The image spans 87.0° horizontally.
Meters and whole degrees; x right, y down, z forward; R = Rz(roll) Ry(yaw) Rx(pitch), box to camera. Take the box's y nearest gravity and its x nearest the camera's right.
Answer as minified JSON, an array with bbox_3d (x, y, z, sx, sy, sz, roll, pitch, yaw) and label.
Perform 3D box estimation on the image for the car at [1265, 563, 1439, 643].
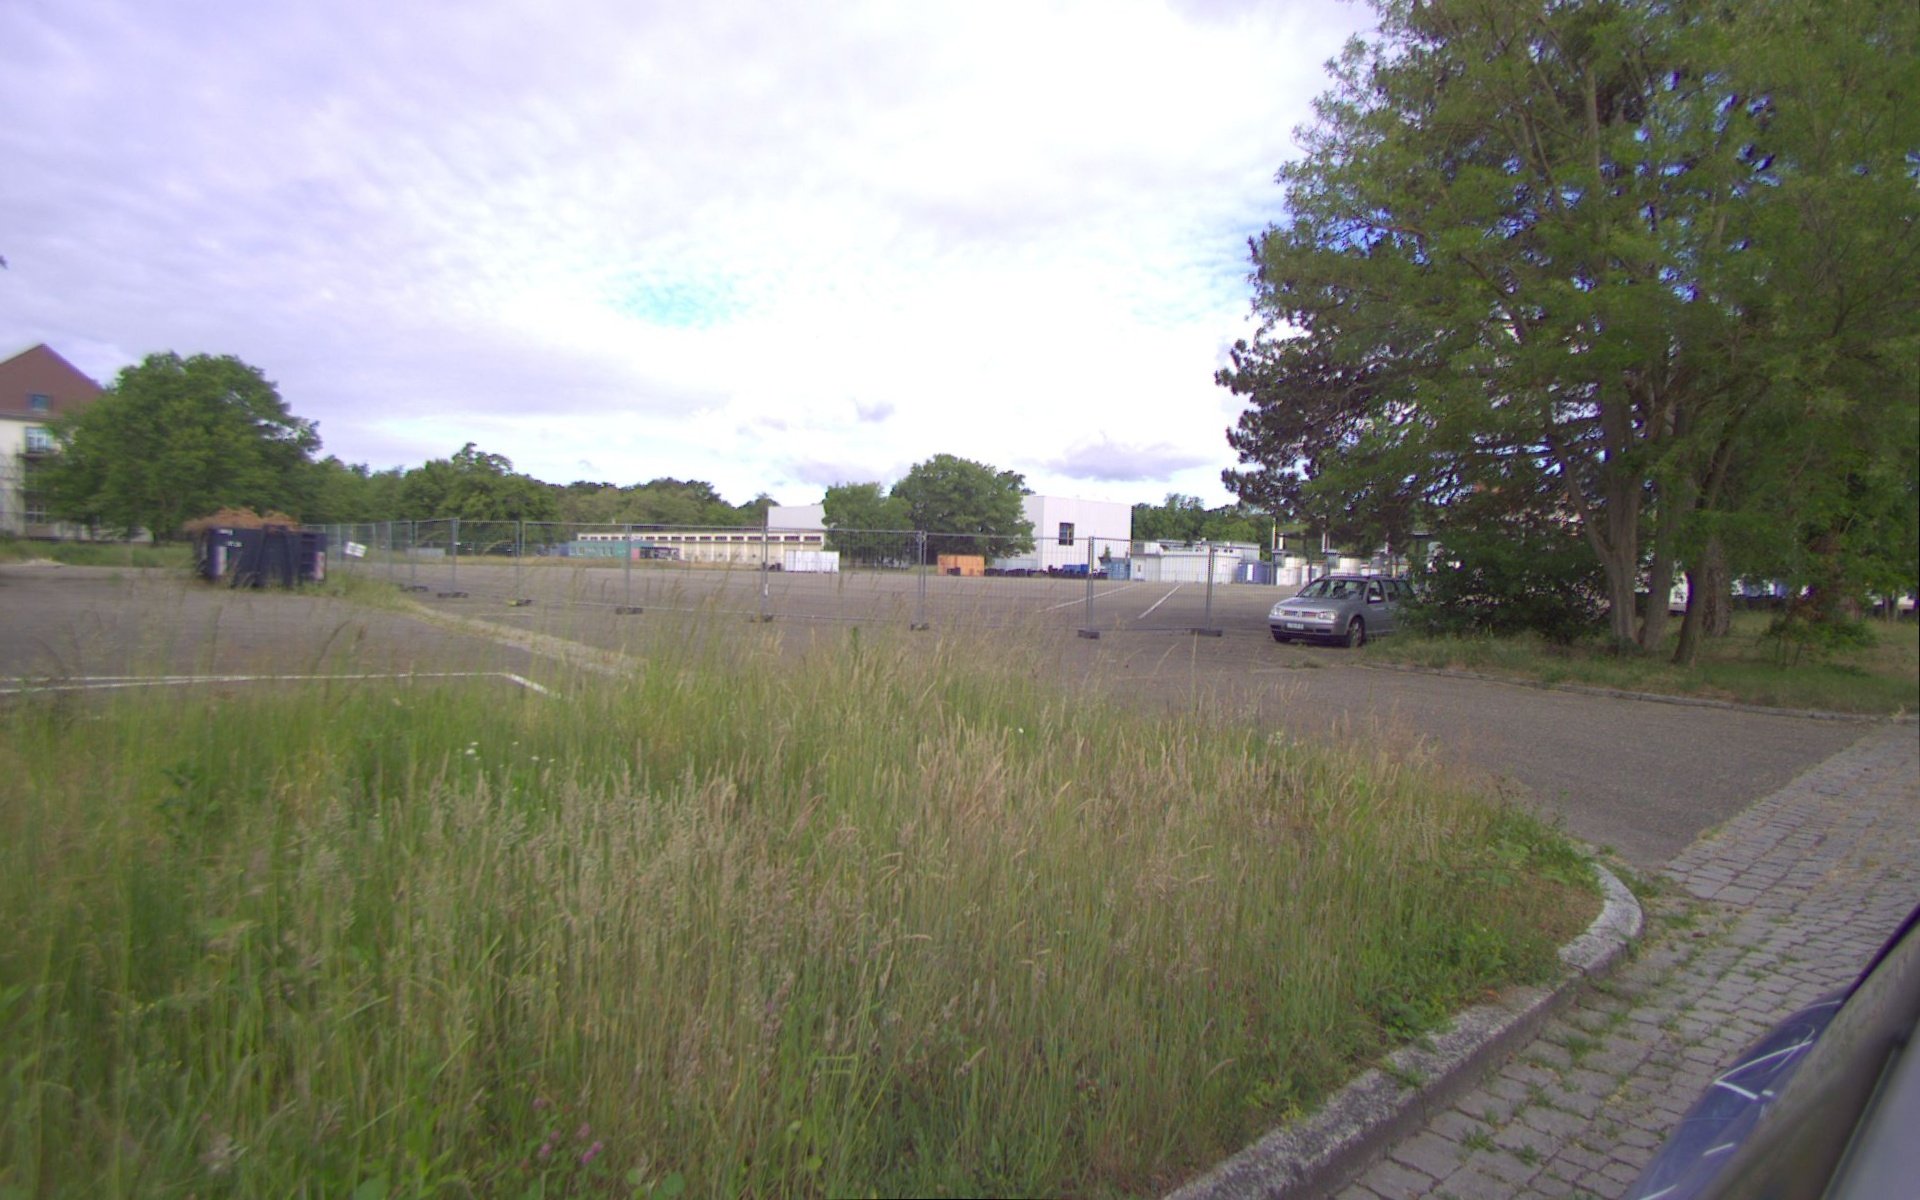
[{"bbox_3d":[8.328,0.011,21.293,4.415,1.468,1.676,-1,3,-44],"label":"car"}]
